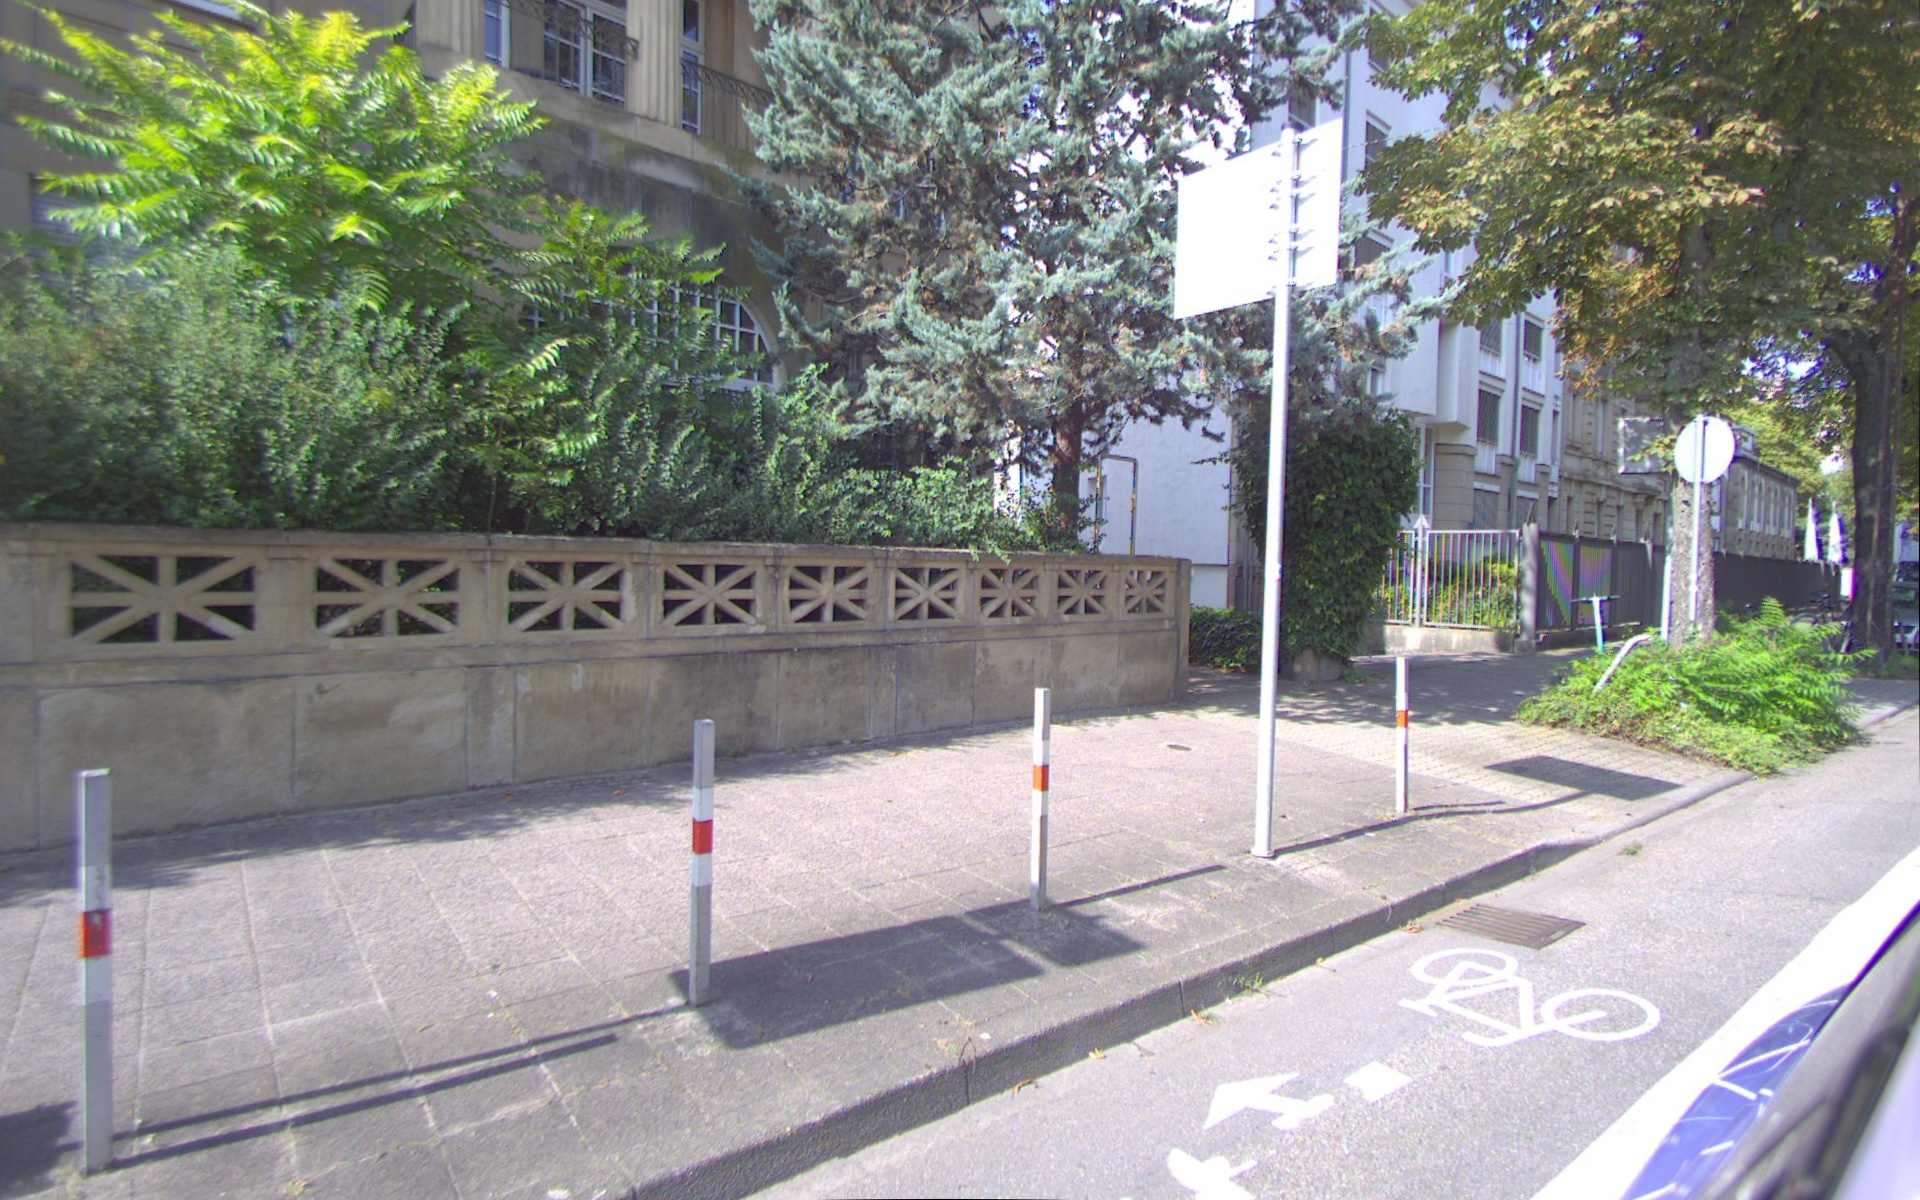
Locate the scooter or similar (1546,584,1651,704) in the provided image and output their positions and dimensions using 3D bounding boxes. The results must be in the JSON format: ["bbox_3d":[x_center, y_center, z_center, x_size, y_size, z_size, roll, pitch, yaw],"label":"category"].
[{"bbox_3d":[7.016,0.452,11.116,1.015,1.211,0.560,-1,6,-37],"label":"scooter or similar"}]

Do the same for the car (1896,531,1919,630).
[{"bbox_3d":[27.352,-0.496,27.605,6.123,2.529,2.049,-1,4,-42],"label":"car"}]

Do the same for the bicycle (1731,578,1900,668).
[{"bbox_3d":[12.823,0.332,15.217,1.812,1.178,0.504,3,8,9],"label":"bicycle"}]

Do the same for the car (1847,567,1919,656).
[{"bbox_3d":[18.828,0.190,19.831,4.283,1.541,1.610,-1,6,-42],"label":"car"}]
